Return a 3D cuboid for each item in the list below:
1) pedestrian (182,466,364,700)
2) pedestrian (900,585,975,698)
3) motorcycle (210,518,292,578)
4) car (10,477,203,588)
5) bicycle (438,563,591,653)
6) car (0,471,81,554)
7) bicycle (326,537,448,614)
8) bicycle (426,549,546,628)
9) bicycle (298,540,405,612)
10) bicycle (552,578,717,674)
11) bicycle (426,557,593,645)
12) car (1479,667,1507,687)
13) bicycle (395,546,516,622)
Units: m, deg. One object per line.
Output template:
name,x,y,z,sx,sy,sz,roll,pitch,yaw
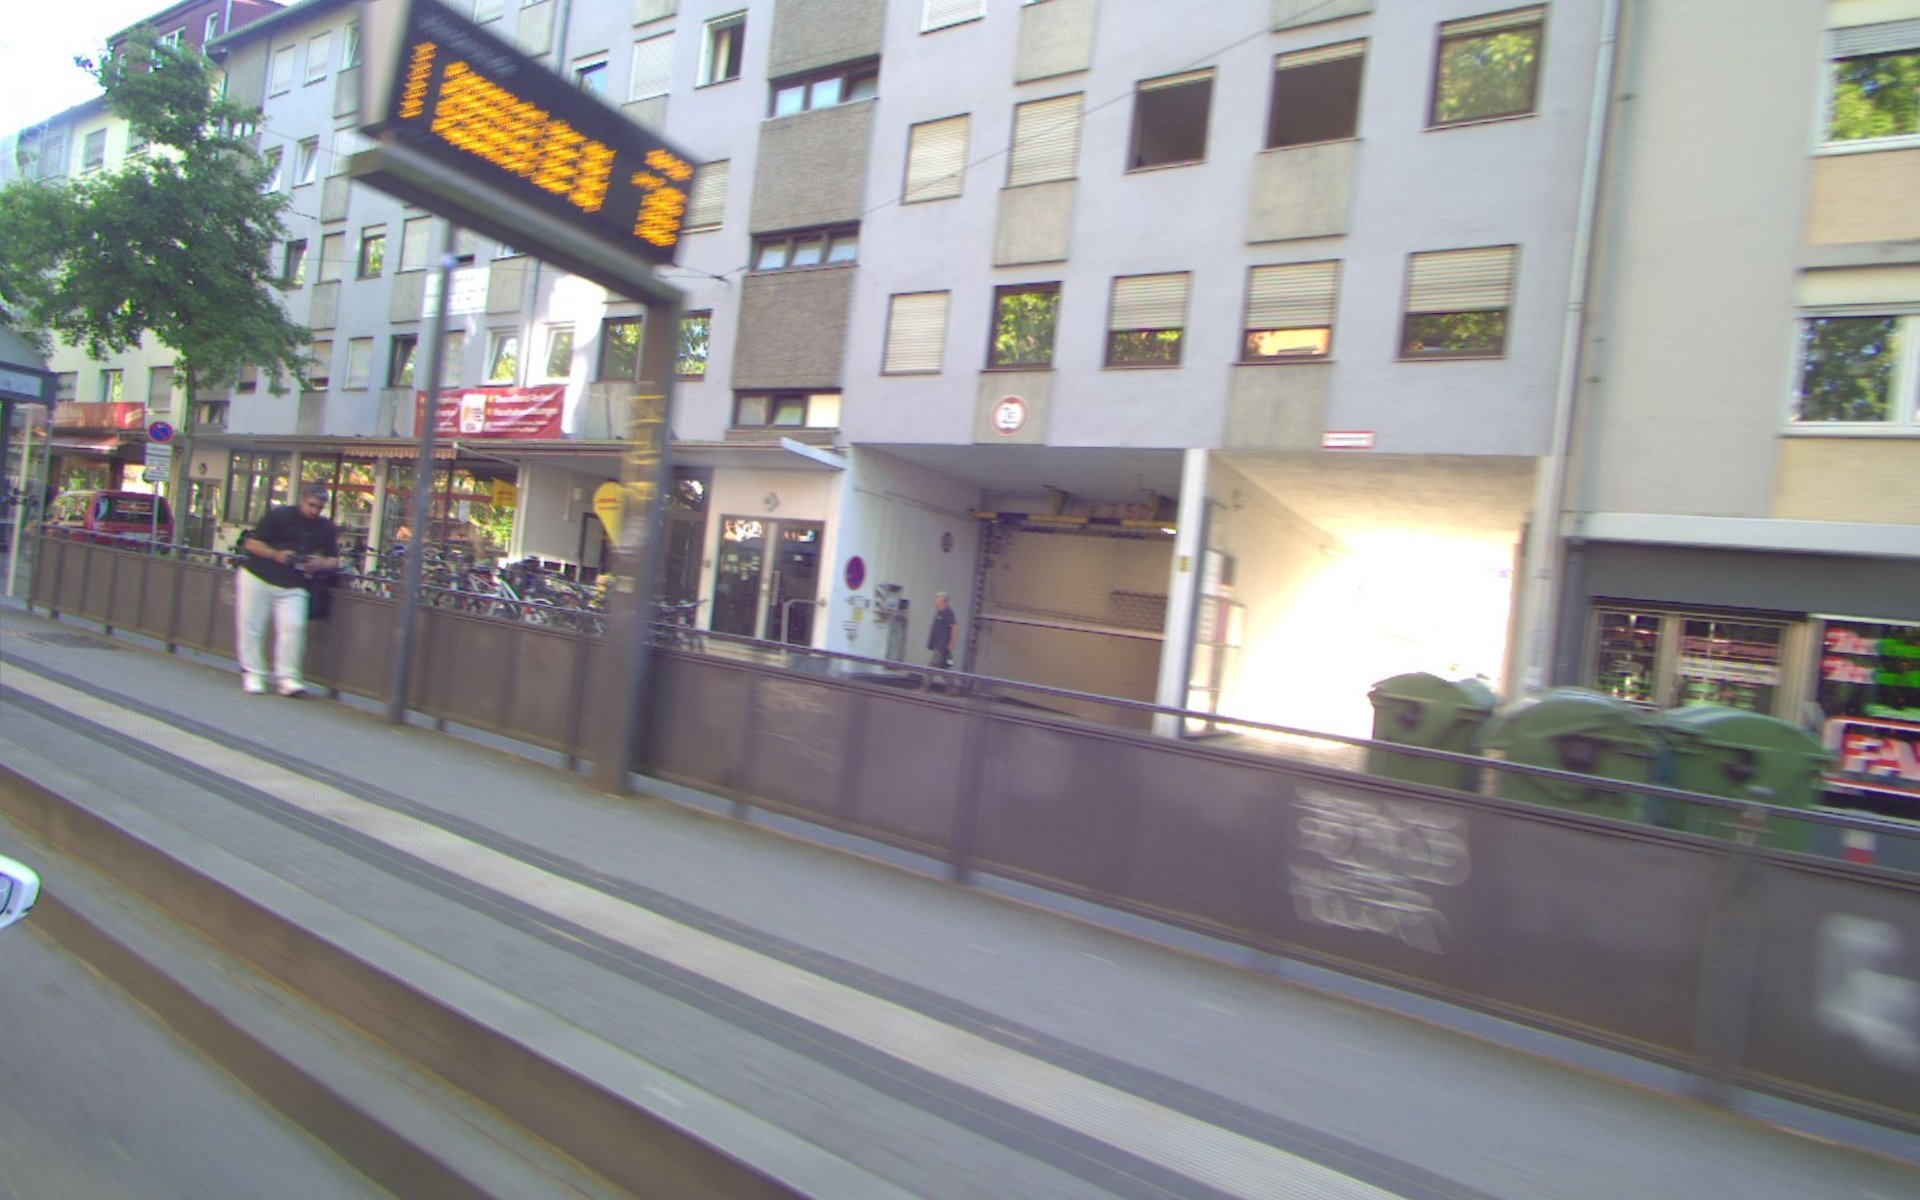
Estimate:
pedestrian,-5.108,-0.124,7.486,0.856,1.594,0.632,7,-2,32
pedestrian,-0.384,0.708,17.117,0.805,1.792,0.719,7,-1,32
motorcycle,-18.313,-1.350,25.966,2.009,1.295,0.893,6,-1,32
car,-19.251,-1.533,22.674,3.933,1.975,1.998,6,-2,31
bicycle,-7.161,0.116,16.145,2.389,1.149,0.604,7,-1,20
car,-24.912,-2.371,26.047,3.933,1.818,1.998,6,-2,31
bicycle,-10.584,-0.459,18.572,2.163,1.149,0.599,7,-1,20
bicycle,-8.434,-0.208,17.875,2.163,1.149,0.411,7,-1,20
bicycle,-11.817,-0.467,19.513,2.165,1.149,0.599,6,-1,26
bicycle,-4.919,0.392,15.179,2.394,1.149,0.623,7,-1,20
bicycle,-7.621,0.006,16.992,2.867,1.149,0.613,7,-1,20
car,43.738,6.323,82.511,1.678,1.265,3.760,6,-2,31
bicycle,-9.416,-0.303,18.754,2.163,1.149,0.599,7,-1,20
